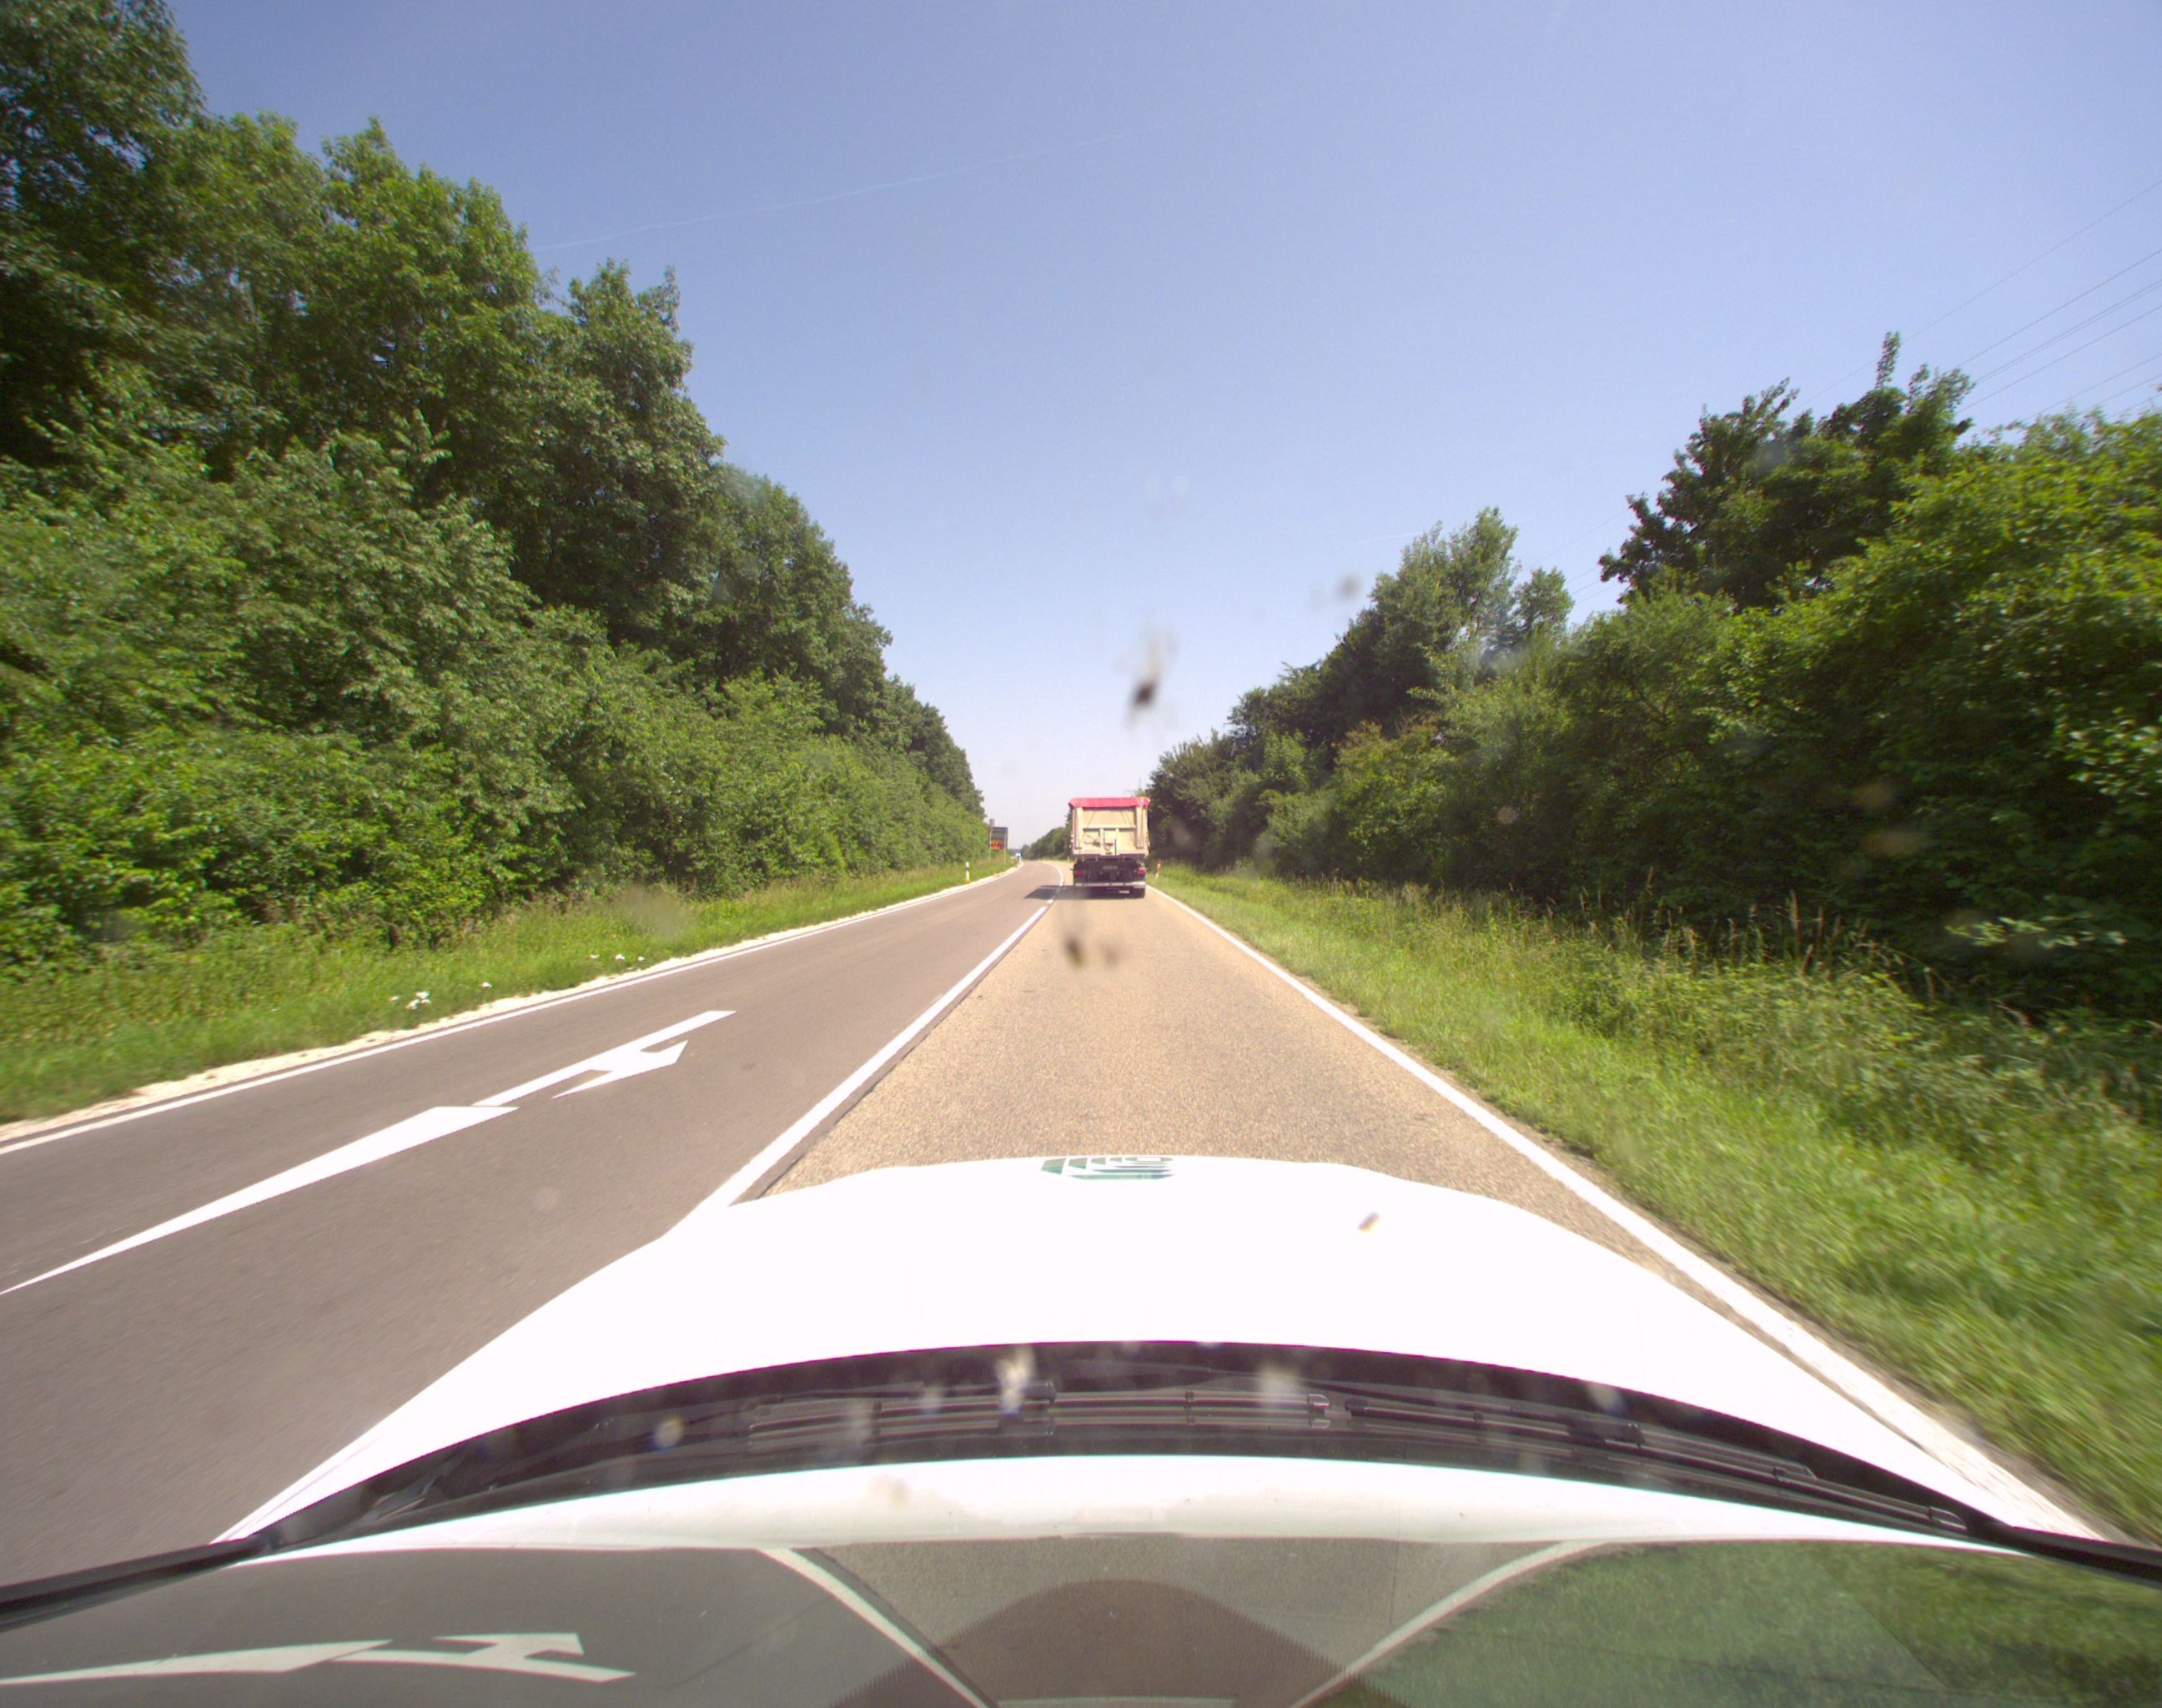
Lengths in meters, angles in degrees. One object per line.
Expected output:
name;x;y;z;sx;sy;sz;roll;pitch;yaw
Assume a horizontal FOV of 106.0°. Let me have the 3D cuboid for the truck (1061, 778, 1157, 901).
truck;0.762;-0.488;32.259;2.886;3.962;11.921;0;0;-2
